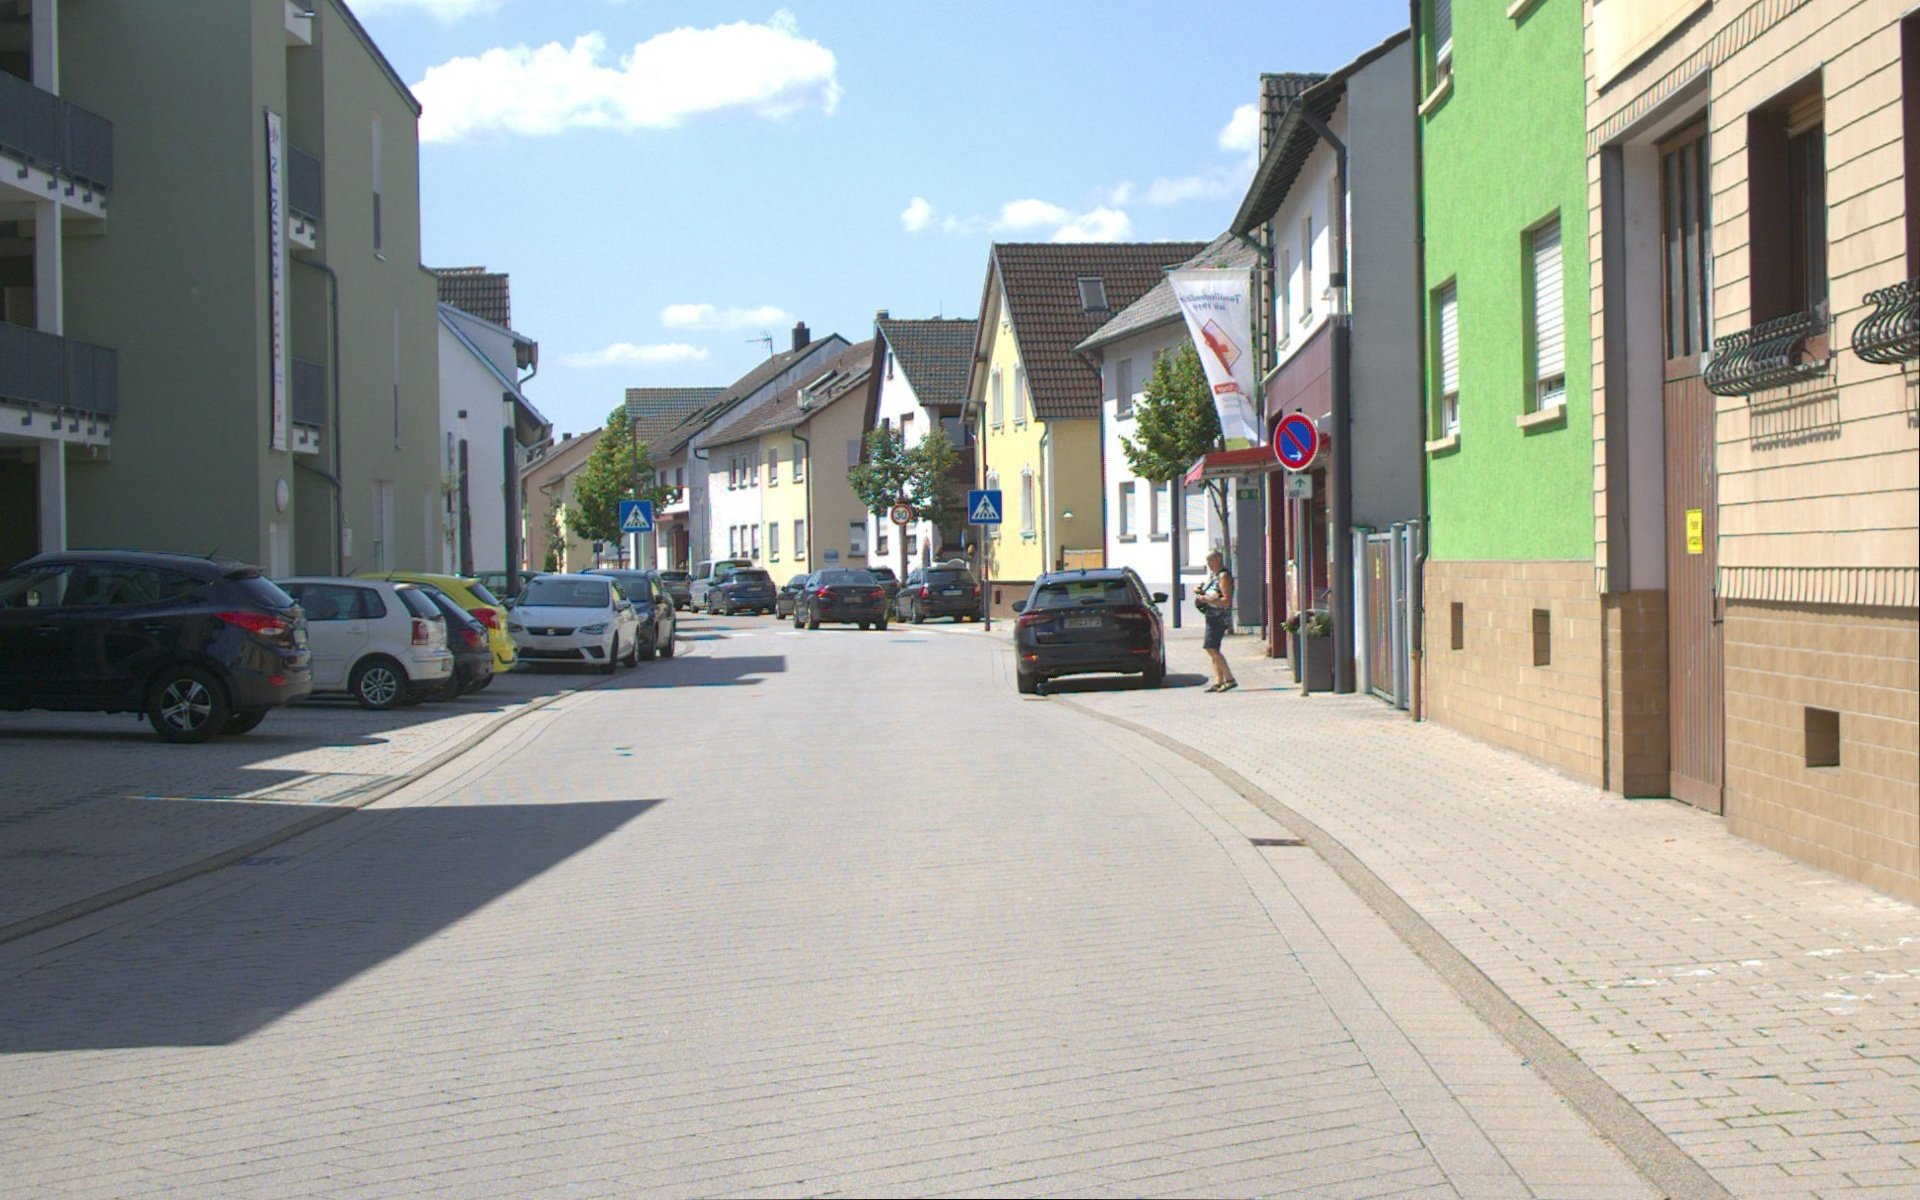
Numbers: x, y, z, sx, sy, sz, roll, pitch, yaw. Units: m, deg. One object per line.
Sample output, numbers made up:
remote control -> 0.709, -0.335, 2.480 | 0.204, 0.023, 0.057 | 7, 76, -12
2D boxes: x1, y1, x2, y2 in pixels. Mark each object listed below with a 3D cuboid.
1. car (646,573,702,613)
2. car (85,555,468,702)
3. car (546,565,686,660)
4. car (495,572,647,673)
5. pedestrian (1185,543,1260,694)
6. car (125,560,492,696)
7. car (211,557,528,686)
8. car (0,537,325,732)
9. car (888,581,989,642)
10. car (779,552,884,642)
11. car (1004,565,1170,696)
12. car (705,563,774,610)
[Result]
car -> -11.224, -0.296, 134.563 | 1.754, 1.488, 4.001 | -1, 1, -11
car -> -7.688, 0.303, 38.869 | 3.901, 1.497, 1.750 | 2, 1, 3
car -> -5.746, 0.179, 57.865 | 1.813, 1.485, 4.277 | 1, 1, 1
car -> -5.854, 0.311, 52.103 | 1.758, 1.406, 3.878 | 1, 1, 1
pedestrian -> 2.949, 0.204, 38.677 | 0.729, 1.634, 0.749 | -4, 0, 4
car -> -7.715, 0.317, 40.918 | 3.987, 1.437, 1.691 | 2, 1, 1
car -> -7.512, 0.260, 43.939 | 3.692, 1.520, 1.672 | 1, 1, 2
car -> -8.023, 0.273, 31.004 | 4.219, 1.653, 1.784 | 1, 1, 1
car -> -0.588, 0.290, 89.895 | 1.828, 1.466, 4.277 | -3, 1, -11
car -> -3.103, -0.087, 82.210 | 1.993, 2.051, 4.375 | -1, 1, -9
car -> 1.635, 0.338, 42.841 | 1.858, 1.454, 4.585 | -3, 0, 4
car -> -7.729, -0.498, 120.261 | 1.877, 1.586, 4.001 | -1, 1, -11
